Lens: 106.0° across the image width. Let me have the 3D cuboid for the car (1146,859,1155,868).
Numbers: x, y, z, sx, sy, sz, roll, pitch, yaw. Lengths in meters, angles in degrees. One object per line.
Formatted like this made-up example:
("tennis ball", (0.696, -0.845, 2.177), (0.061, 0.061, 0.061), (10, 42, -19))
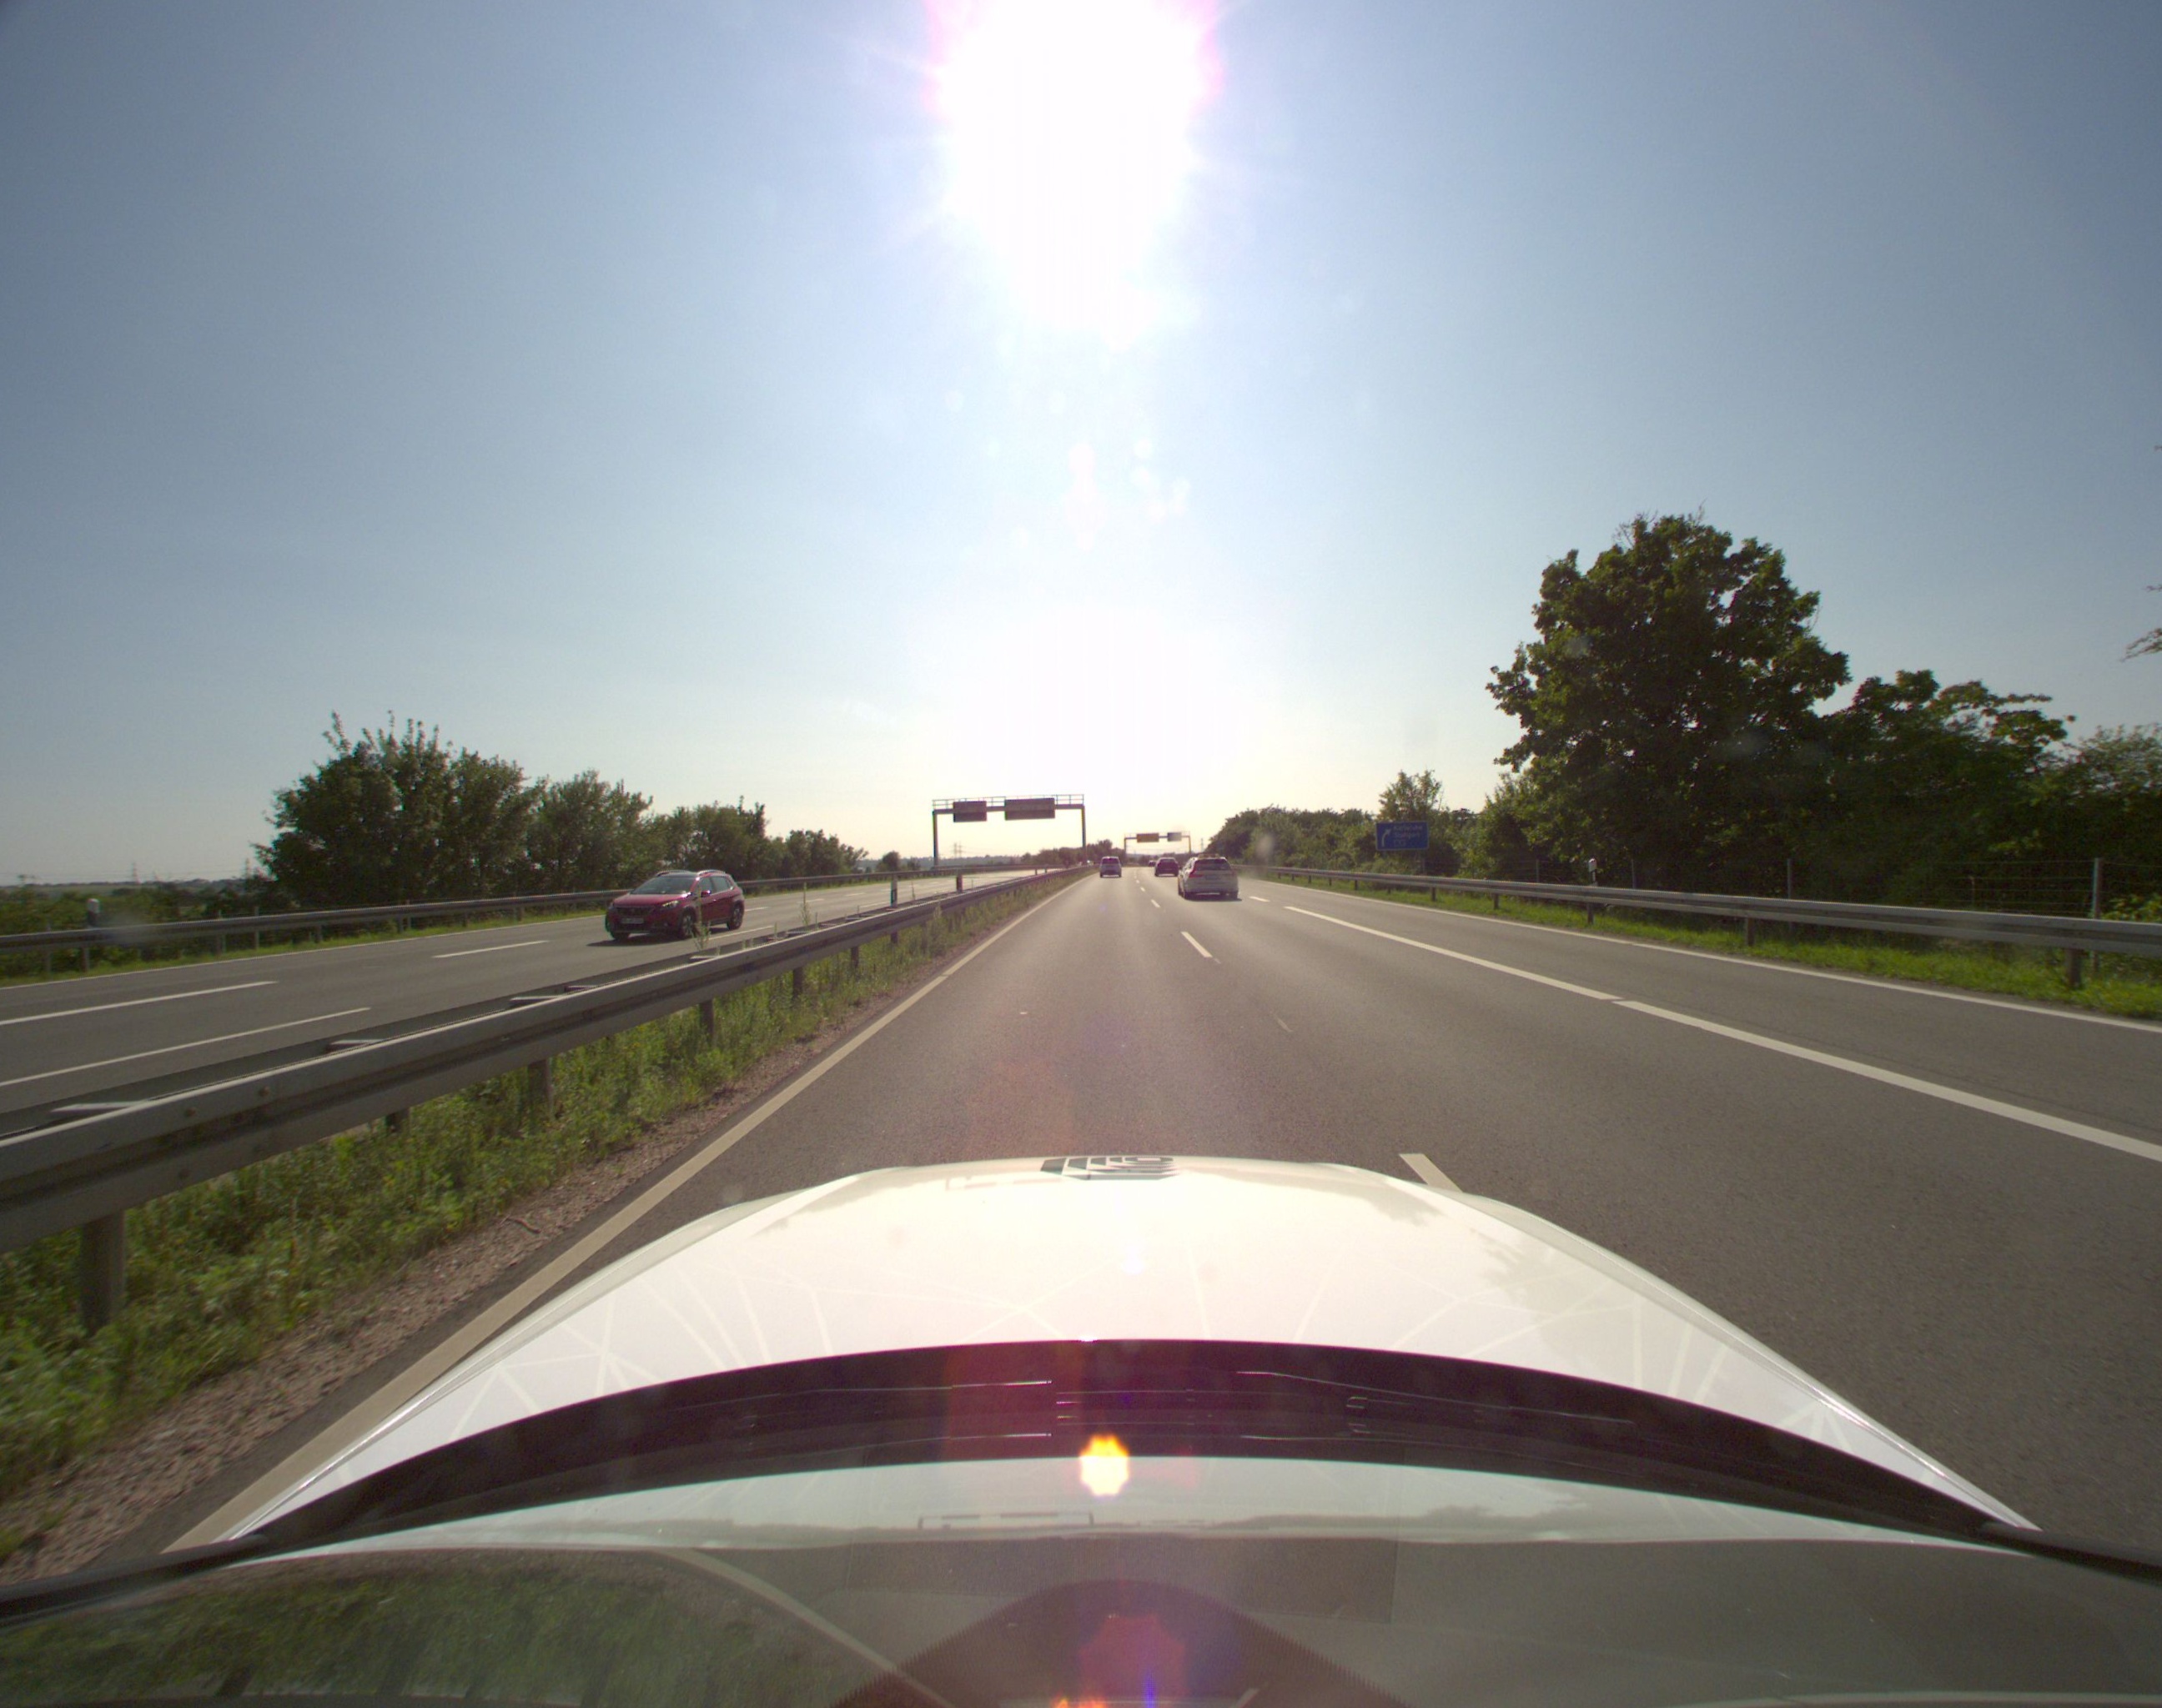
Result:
("car", (15.114, 2.111, 177.355), (1.985, 2.014, 4.004), (0, 0, 3))

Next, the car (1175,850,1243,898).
("car", (4.571, 0.692, 29.573), (1.951, 1.601, 4.109), (0, 0, 2))

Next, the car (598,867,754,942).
("car", (-9.715, 1.135, 19.941), (1.637, 1.575, 4.264), (0, 0, 1))

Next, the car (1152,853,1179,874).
("car", (6.412, 0.770, 62.013), (1.786, 1.543, 3.674), (-1, -1, 3))

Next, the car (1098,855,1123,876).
("car", (2.296, 0.871, 62.065), (1.785, 1.503, 4.046), (-2, -1, 3))
